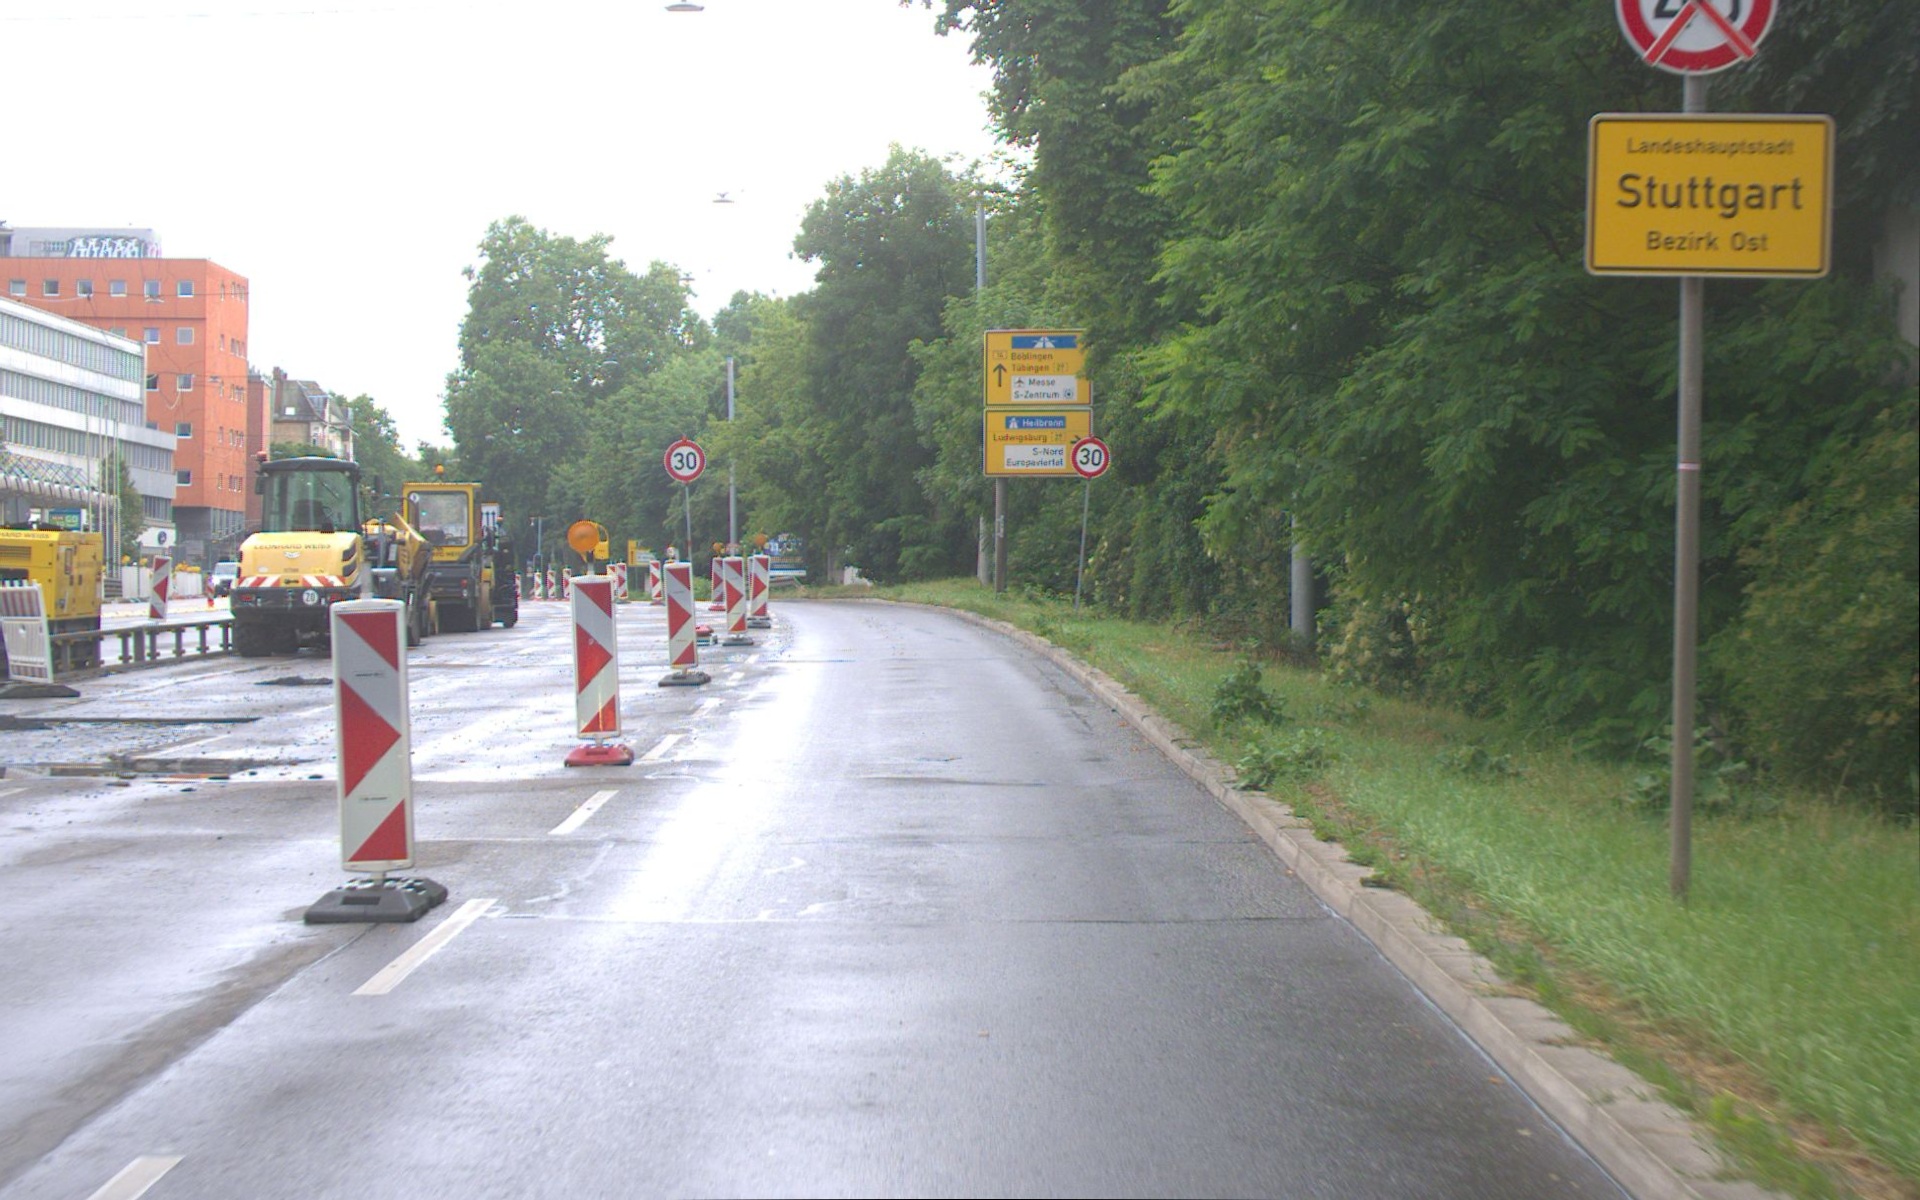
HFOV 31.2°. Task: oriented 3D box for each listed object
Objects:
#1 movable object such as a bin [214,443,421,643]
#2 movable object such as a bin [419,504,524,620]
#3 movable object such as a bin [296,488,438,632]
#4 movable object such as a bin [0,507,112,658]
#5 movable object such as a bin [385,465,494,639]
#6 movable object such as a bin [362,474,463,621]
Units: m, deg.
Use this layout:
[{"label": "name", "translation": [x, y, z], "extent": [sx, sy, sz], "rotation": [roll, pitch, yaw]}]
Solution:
[{"label": "movable object such as a bin", "translation": [-8.767, -0.779, 47.370], "extent": [1.902, 2.600, 5.383], "rotation": [0, 1, -1]}, {"label": "movable object such as a bin", "translation": [-9.389, -0.731, 66.257], "extent": [1.715, 2.142, 3.350], "rotation": [-1, 1, -4]}, {"label": "movable object such as a bin", "translation": [-9.042, -0.618, 52.696], "extent": [1.362, 2.083, 5.030], "rotation": [0, 1, -1]}, {"label": "movable object such as a bin", "translation": [-10.405, -0.210, 38.809], "extent": [1.083, 1.639, 2.439], "rotation": [1, 1, -1]}, {"label": "movable object such as a bin", "translation": [-9.321, -0.863, 61.739], "extent": [1.465, 2.998, 3.724], "rotation": [-1, 1, -2]}, {"label": "movable object such as a bin", "translation": [-9.191, -0.886, 57.863], "extent": [1.410, 2.393, 2.406], "rotation": [-1, 1, -4]}]
